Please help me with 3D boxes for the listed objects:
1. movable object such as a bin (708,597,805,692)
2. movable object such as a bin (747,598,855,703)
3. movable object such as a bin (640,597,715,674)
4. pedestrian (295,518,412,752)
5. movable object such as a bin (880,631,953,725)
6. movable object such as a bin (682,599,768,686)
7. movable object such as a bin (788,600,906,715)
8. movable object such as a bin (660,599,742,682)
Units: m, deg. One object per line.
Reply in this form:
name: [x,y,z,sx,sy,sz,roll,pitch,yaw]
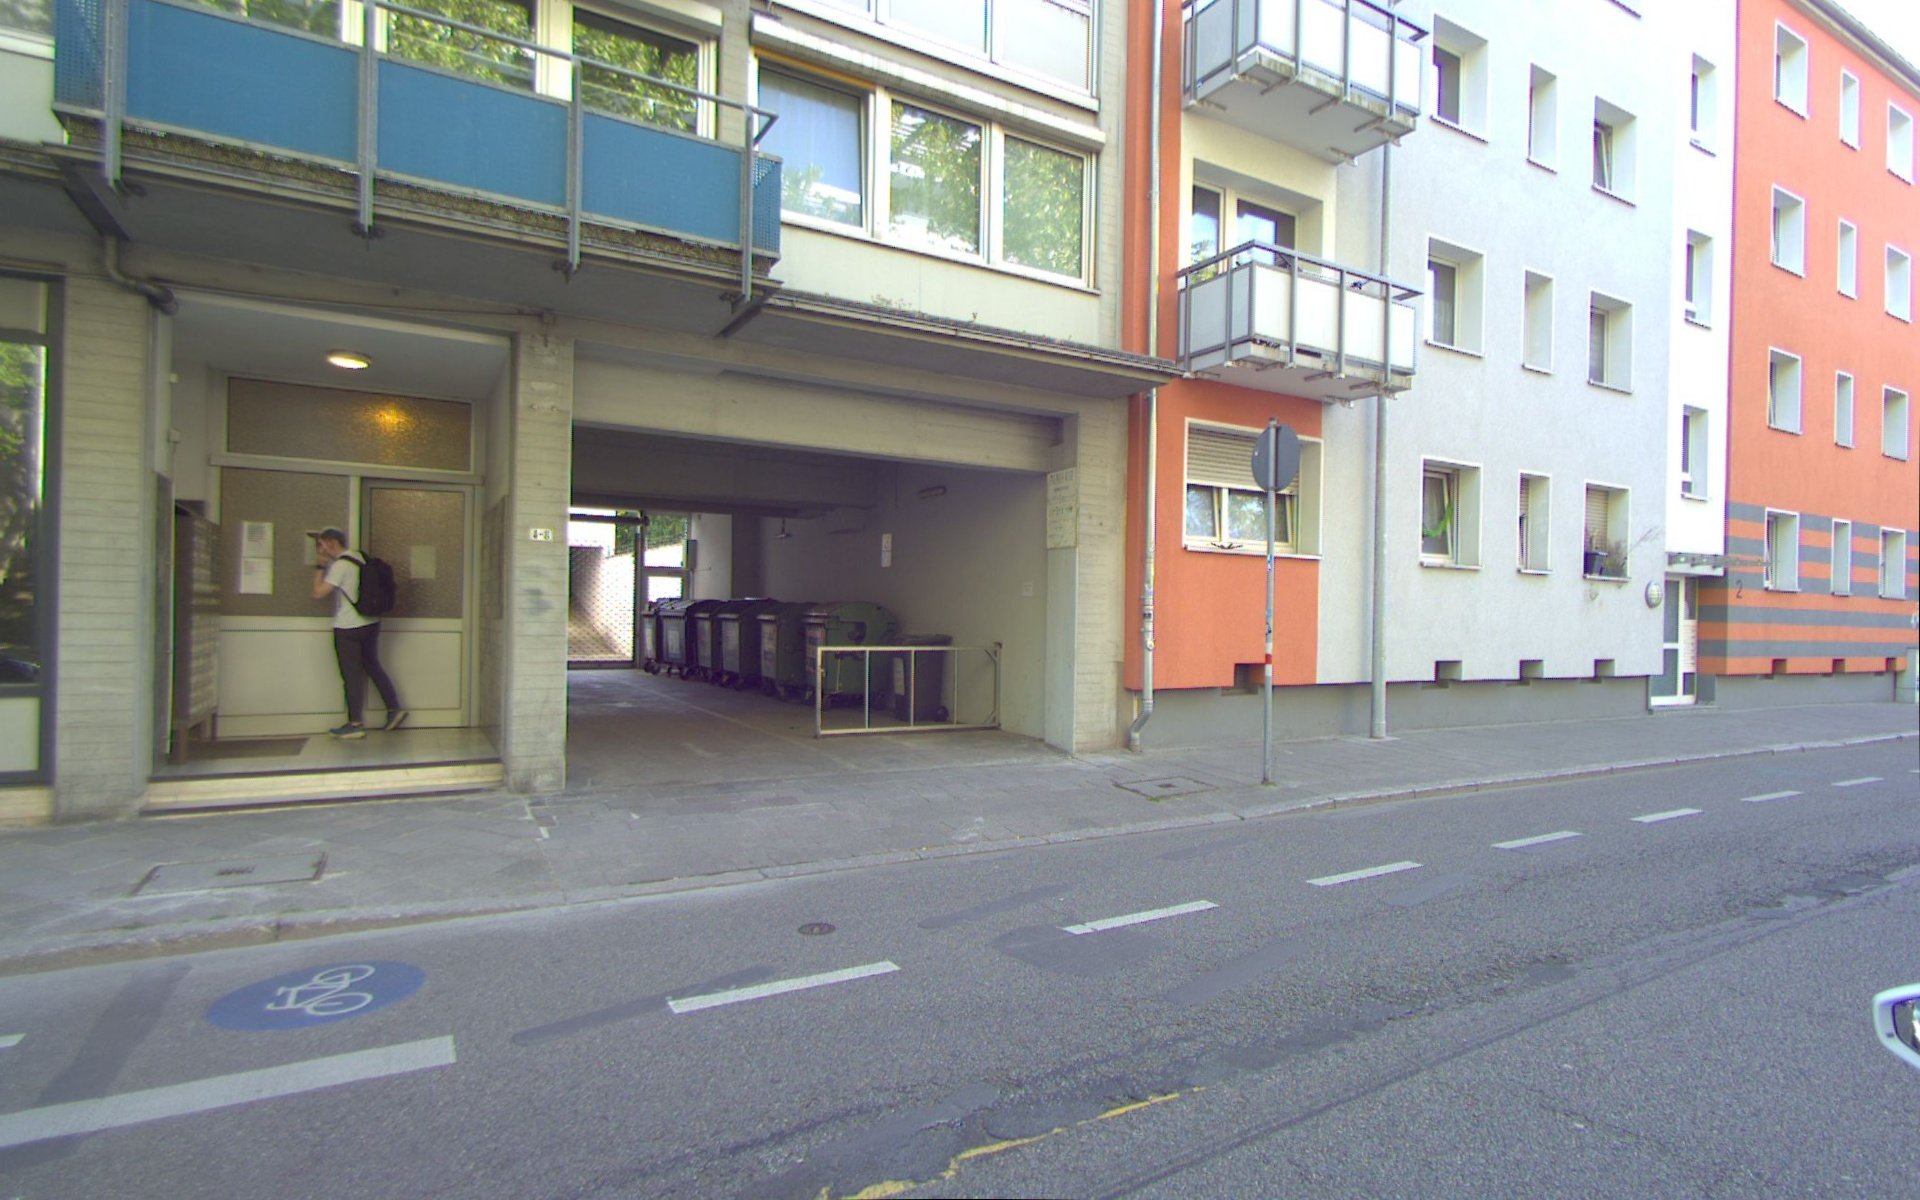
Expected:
movable object such as a bin: [-3.376,0.712,16.612,1.186,1.467,1.319,2,0,-30]
movable object such as a bin: [-2.409,0.733,15.128,1.186,1.467,1.319,2,0,-30]
movable object such as a bin: [-5.622,0.700,19.975,1.186,1.467,1.027,2,0,-30]
pedestrian: [-5.171,0.296,8.607,0.777,1.904,0.577,2,0,-28]
movable object such as a bin: [-0.541,0.951,12.403,0.745,1.116,0.463,2,0,-30]
movable object such as a bin: [-4.147,0.733,17.703,1.186,1.467,1.114,2,0,-30]
movable object such as a bin: [-1.569,0.751,13.795,1.159,1.467,1.319,2,0,-30]
movable object such as a bin: [-4.846,0.735,18.746,1.186,1.467,1.222,2,0,-30]
